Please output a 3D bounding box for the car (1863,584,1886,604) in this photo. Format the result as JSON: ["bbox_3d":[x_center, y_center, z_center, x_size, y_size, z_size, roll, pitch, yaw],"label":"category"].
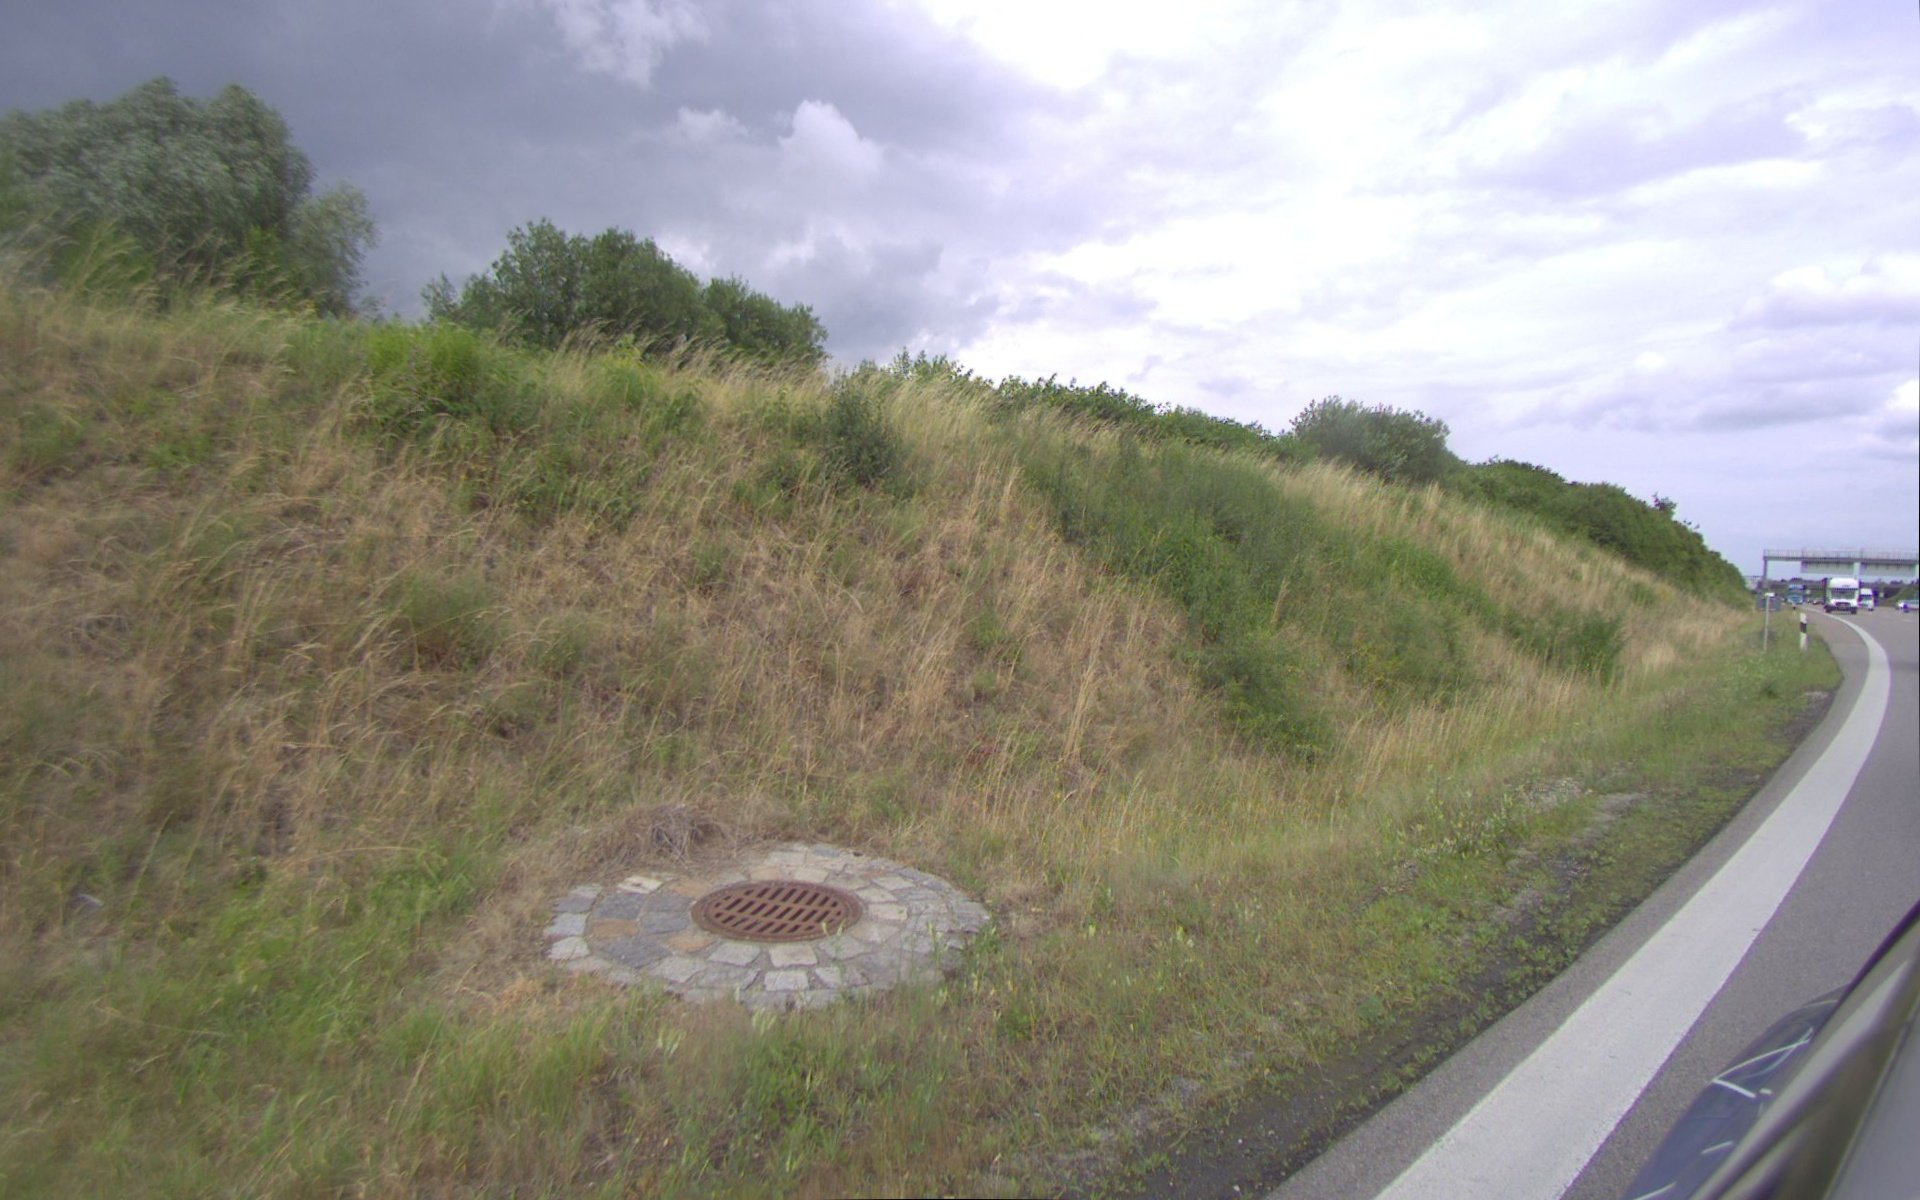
[{"bbox_3d":[111.583,-0.766,123.498,1.993,2.425,3.939,0,1,42],"label":"car"}]

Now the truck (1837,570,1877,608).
[{"bbox_3d":[80.244,-0.983,90.609,2.440,3.275,7.087,2,2,40],"label":"truck"}]

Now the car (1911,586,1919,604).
[{"bbox_3d":[109.393,-0.546,114.845,1.994,2.039,3.936,0,1,44],"label":"car"}]
